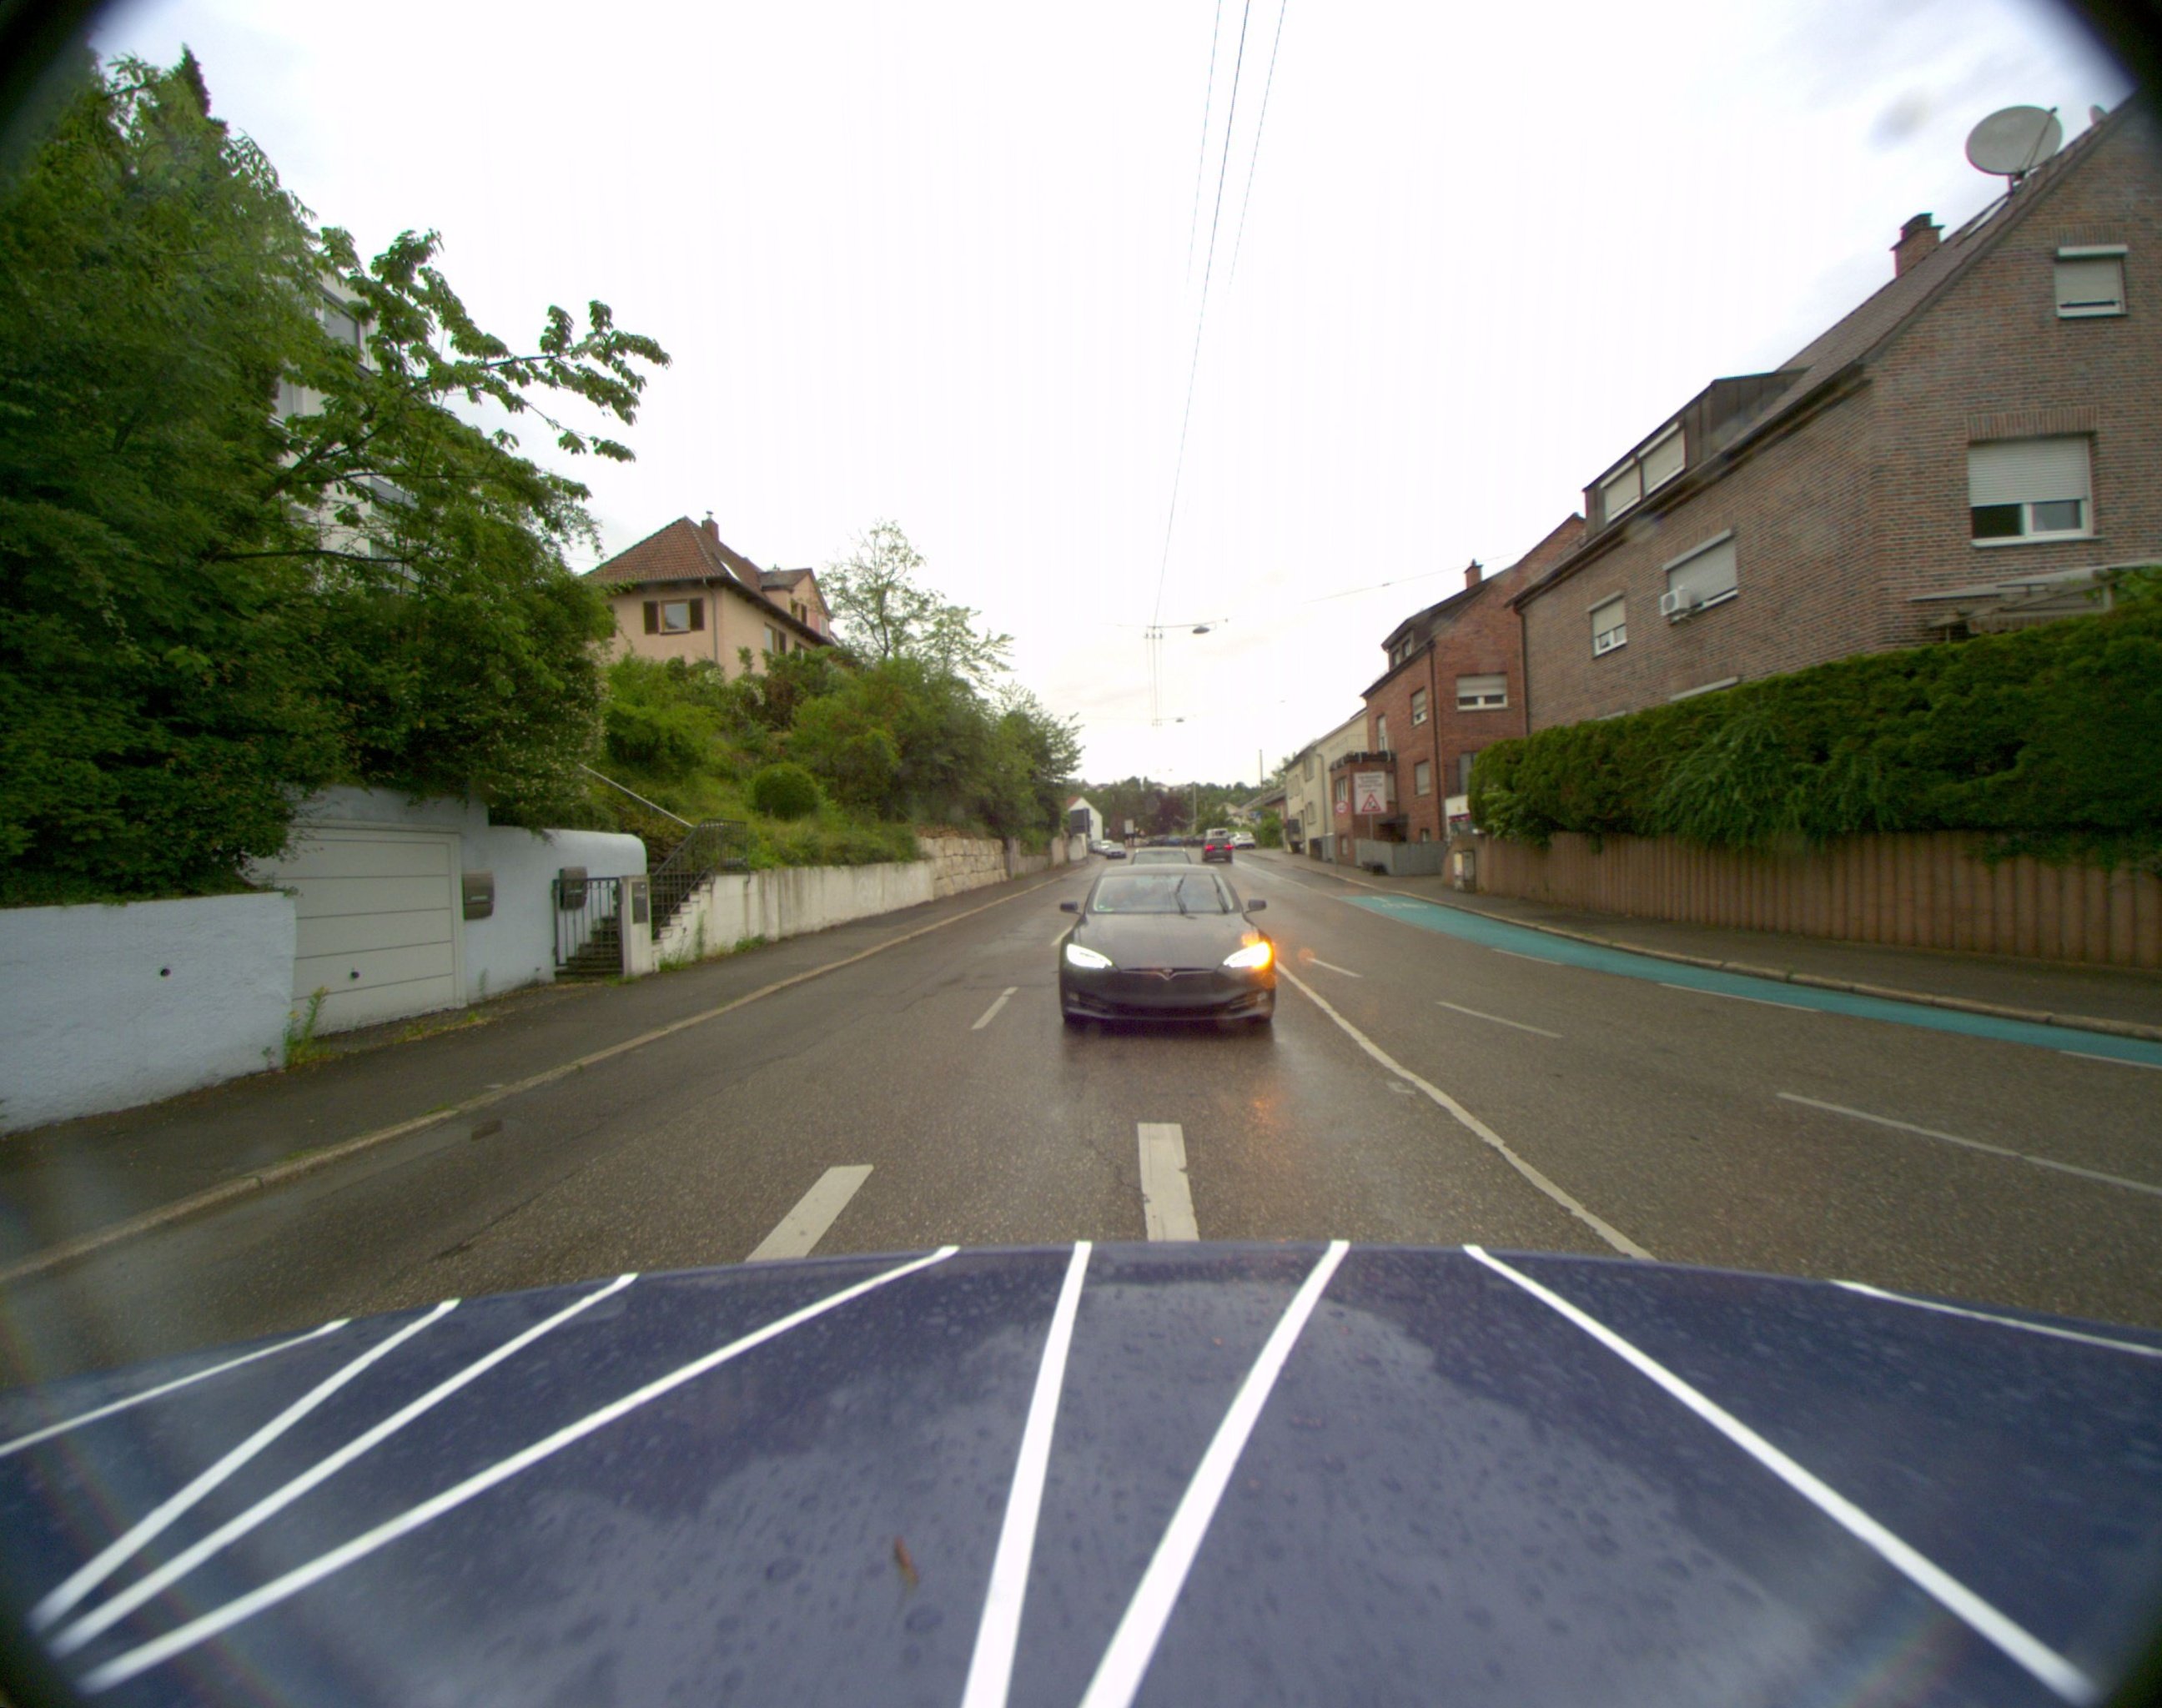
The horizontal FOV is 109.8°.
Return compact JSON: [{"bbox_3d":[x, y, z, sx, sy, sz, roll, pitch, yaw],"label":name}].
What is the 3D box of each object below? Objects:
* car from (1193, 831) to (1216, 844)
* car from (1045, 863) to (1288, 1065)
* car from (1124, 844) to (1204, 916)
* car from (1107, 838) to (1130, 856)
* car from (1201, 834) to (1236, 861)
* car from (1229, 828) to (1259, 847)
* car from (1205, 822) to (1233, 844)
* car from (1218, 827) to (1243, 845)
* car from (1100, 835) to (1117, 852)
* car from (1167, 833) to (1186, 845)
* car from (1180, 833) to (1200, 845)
[{"bbox_3d":[14.877,-2.000,91.800,1.654,1.482,4.009,-4,1,-6],"label":"car"},{"bbox_3d":[0.682,0.887,7.968,1.870,1.407,3.999,-2,1,0],"label":"car"},{"bbox_3d":[2.061,0.584,19.508,1.789,1.580,3.784,-2,1,4],"label":"car"},{"bbox_3d":[3.648,-0.634,73.180,2.002,1.596,4.360,-2,-1,4],"label":"car"},{"bbox_3d":[9.037,-0.478,50.195,1.853,1.671,4.172,0,2,4],"label":"car"},{"bbox_3d":[15.358,-1.548,71.974,1.946,1.557,4.263,-4,1,2],"label":"car"},{"bbox_3d":[15.616,-2.327,86.152,2.257,2.273,4.546,-4,1,0],"label":"car"},{"bbox_3d":[15.726,-1.899,80.122,1.814,1.793,4.263,-4,1,2],"label":"car"},{"bbox_3d":[3.189,-1.242,89.049,1.820,1.855,4.038,-2,2,-1],"label":"car"},{"bbox_3d":[12.870,-2.037,102.651,1.624,1.482,3.901,-4,1,-4],"label":"car"},{"bbox_3d":[13.979,-1.953,97.456,1.654,1.388,3.859,-4,1,-4],"label":"car"}]
